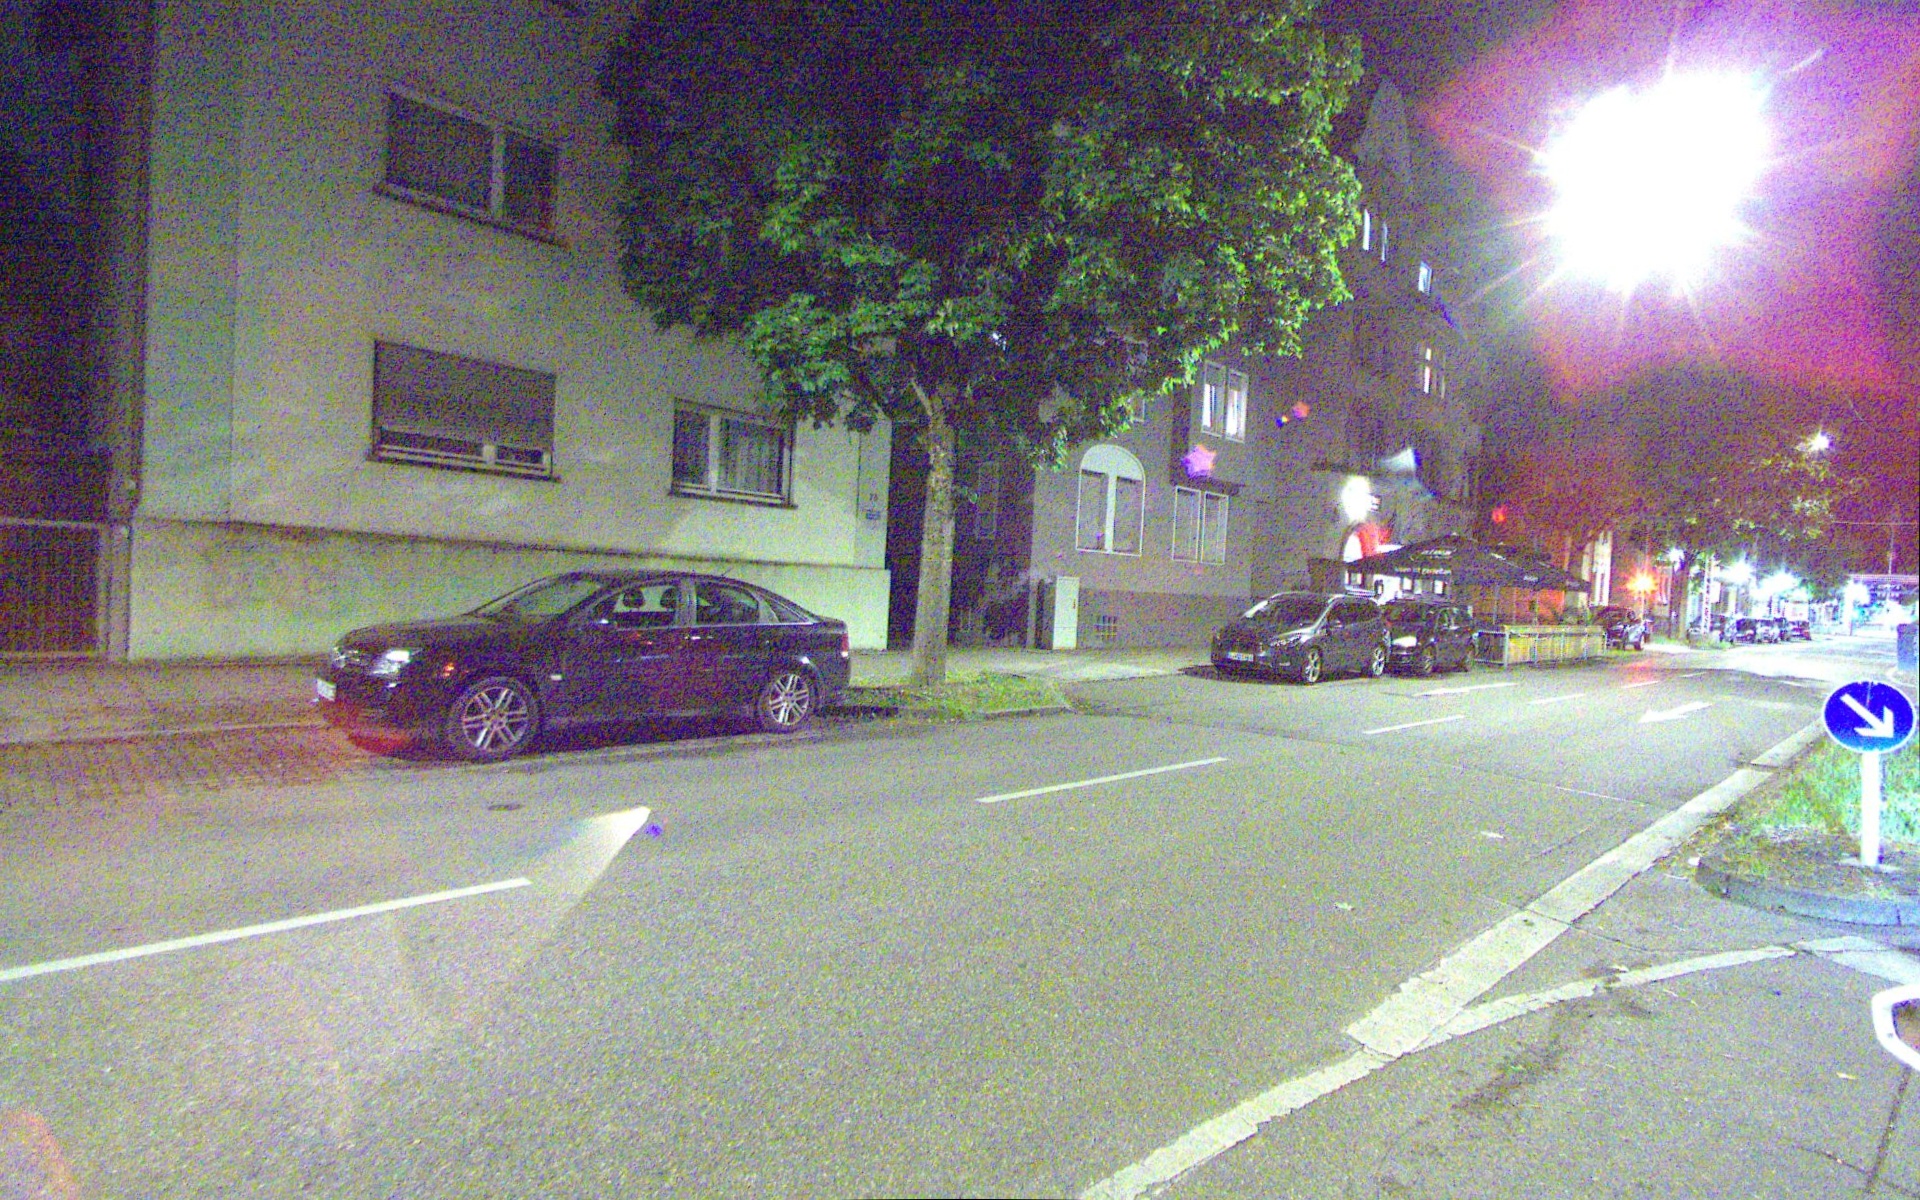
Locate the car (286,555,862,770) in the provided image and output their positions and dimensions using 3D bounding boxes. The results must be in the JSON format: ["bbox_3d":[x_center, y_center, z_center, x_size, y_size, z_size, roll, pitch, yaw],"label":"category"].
[{"bbox_3d":[-3.056,0.434,8.765,1.604,1.401,4.428,3,1,42],"label":"car"}]

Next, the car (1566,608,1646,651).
[{"bbox_3d":[23.782,1.070,36.916,1.634,1.450,3.975,3,1,45],"label":"car"}]

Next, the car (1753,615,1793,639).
[{"bbox_3d":[53.949,1.805,66.615,1.634,1.450,3.975,3,1,45],"label":"car"}]

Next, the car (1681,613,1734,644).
[{"bbox_3d":[38.768,1.469,52.056,1.634,1.450,3.975,3,1,45],"label":"car"}]

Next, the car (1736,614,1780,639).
[{"bbox_3d":[49.159,1.633,61.873,1.634,1.450,3.975,3,1,45],"label":"car"}]

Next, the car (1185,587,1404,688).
[{"bbox_3d":[6.119,0.614,18.083,4.423,1.491,1.880,1,4,-45],"label":"car"}]

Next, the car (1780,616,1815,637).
[{"bbox_3d":[63.600,2.027,76.262,1.634,1.450,3.975,3,1,45],"label":"car"}]

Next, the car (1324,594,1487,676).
[{"bbox_3d":[9.619,0.725,21.534,1.785,1.501,4.297,4,1,44],"label":"car"}]

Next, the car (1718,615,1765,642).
[{"bbox_3d":[44.835,1.614,57.611,1.634,1.450,3.975,3,1,45],"label":"car"}]
